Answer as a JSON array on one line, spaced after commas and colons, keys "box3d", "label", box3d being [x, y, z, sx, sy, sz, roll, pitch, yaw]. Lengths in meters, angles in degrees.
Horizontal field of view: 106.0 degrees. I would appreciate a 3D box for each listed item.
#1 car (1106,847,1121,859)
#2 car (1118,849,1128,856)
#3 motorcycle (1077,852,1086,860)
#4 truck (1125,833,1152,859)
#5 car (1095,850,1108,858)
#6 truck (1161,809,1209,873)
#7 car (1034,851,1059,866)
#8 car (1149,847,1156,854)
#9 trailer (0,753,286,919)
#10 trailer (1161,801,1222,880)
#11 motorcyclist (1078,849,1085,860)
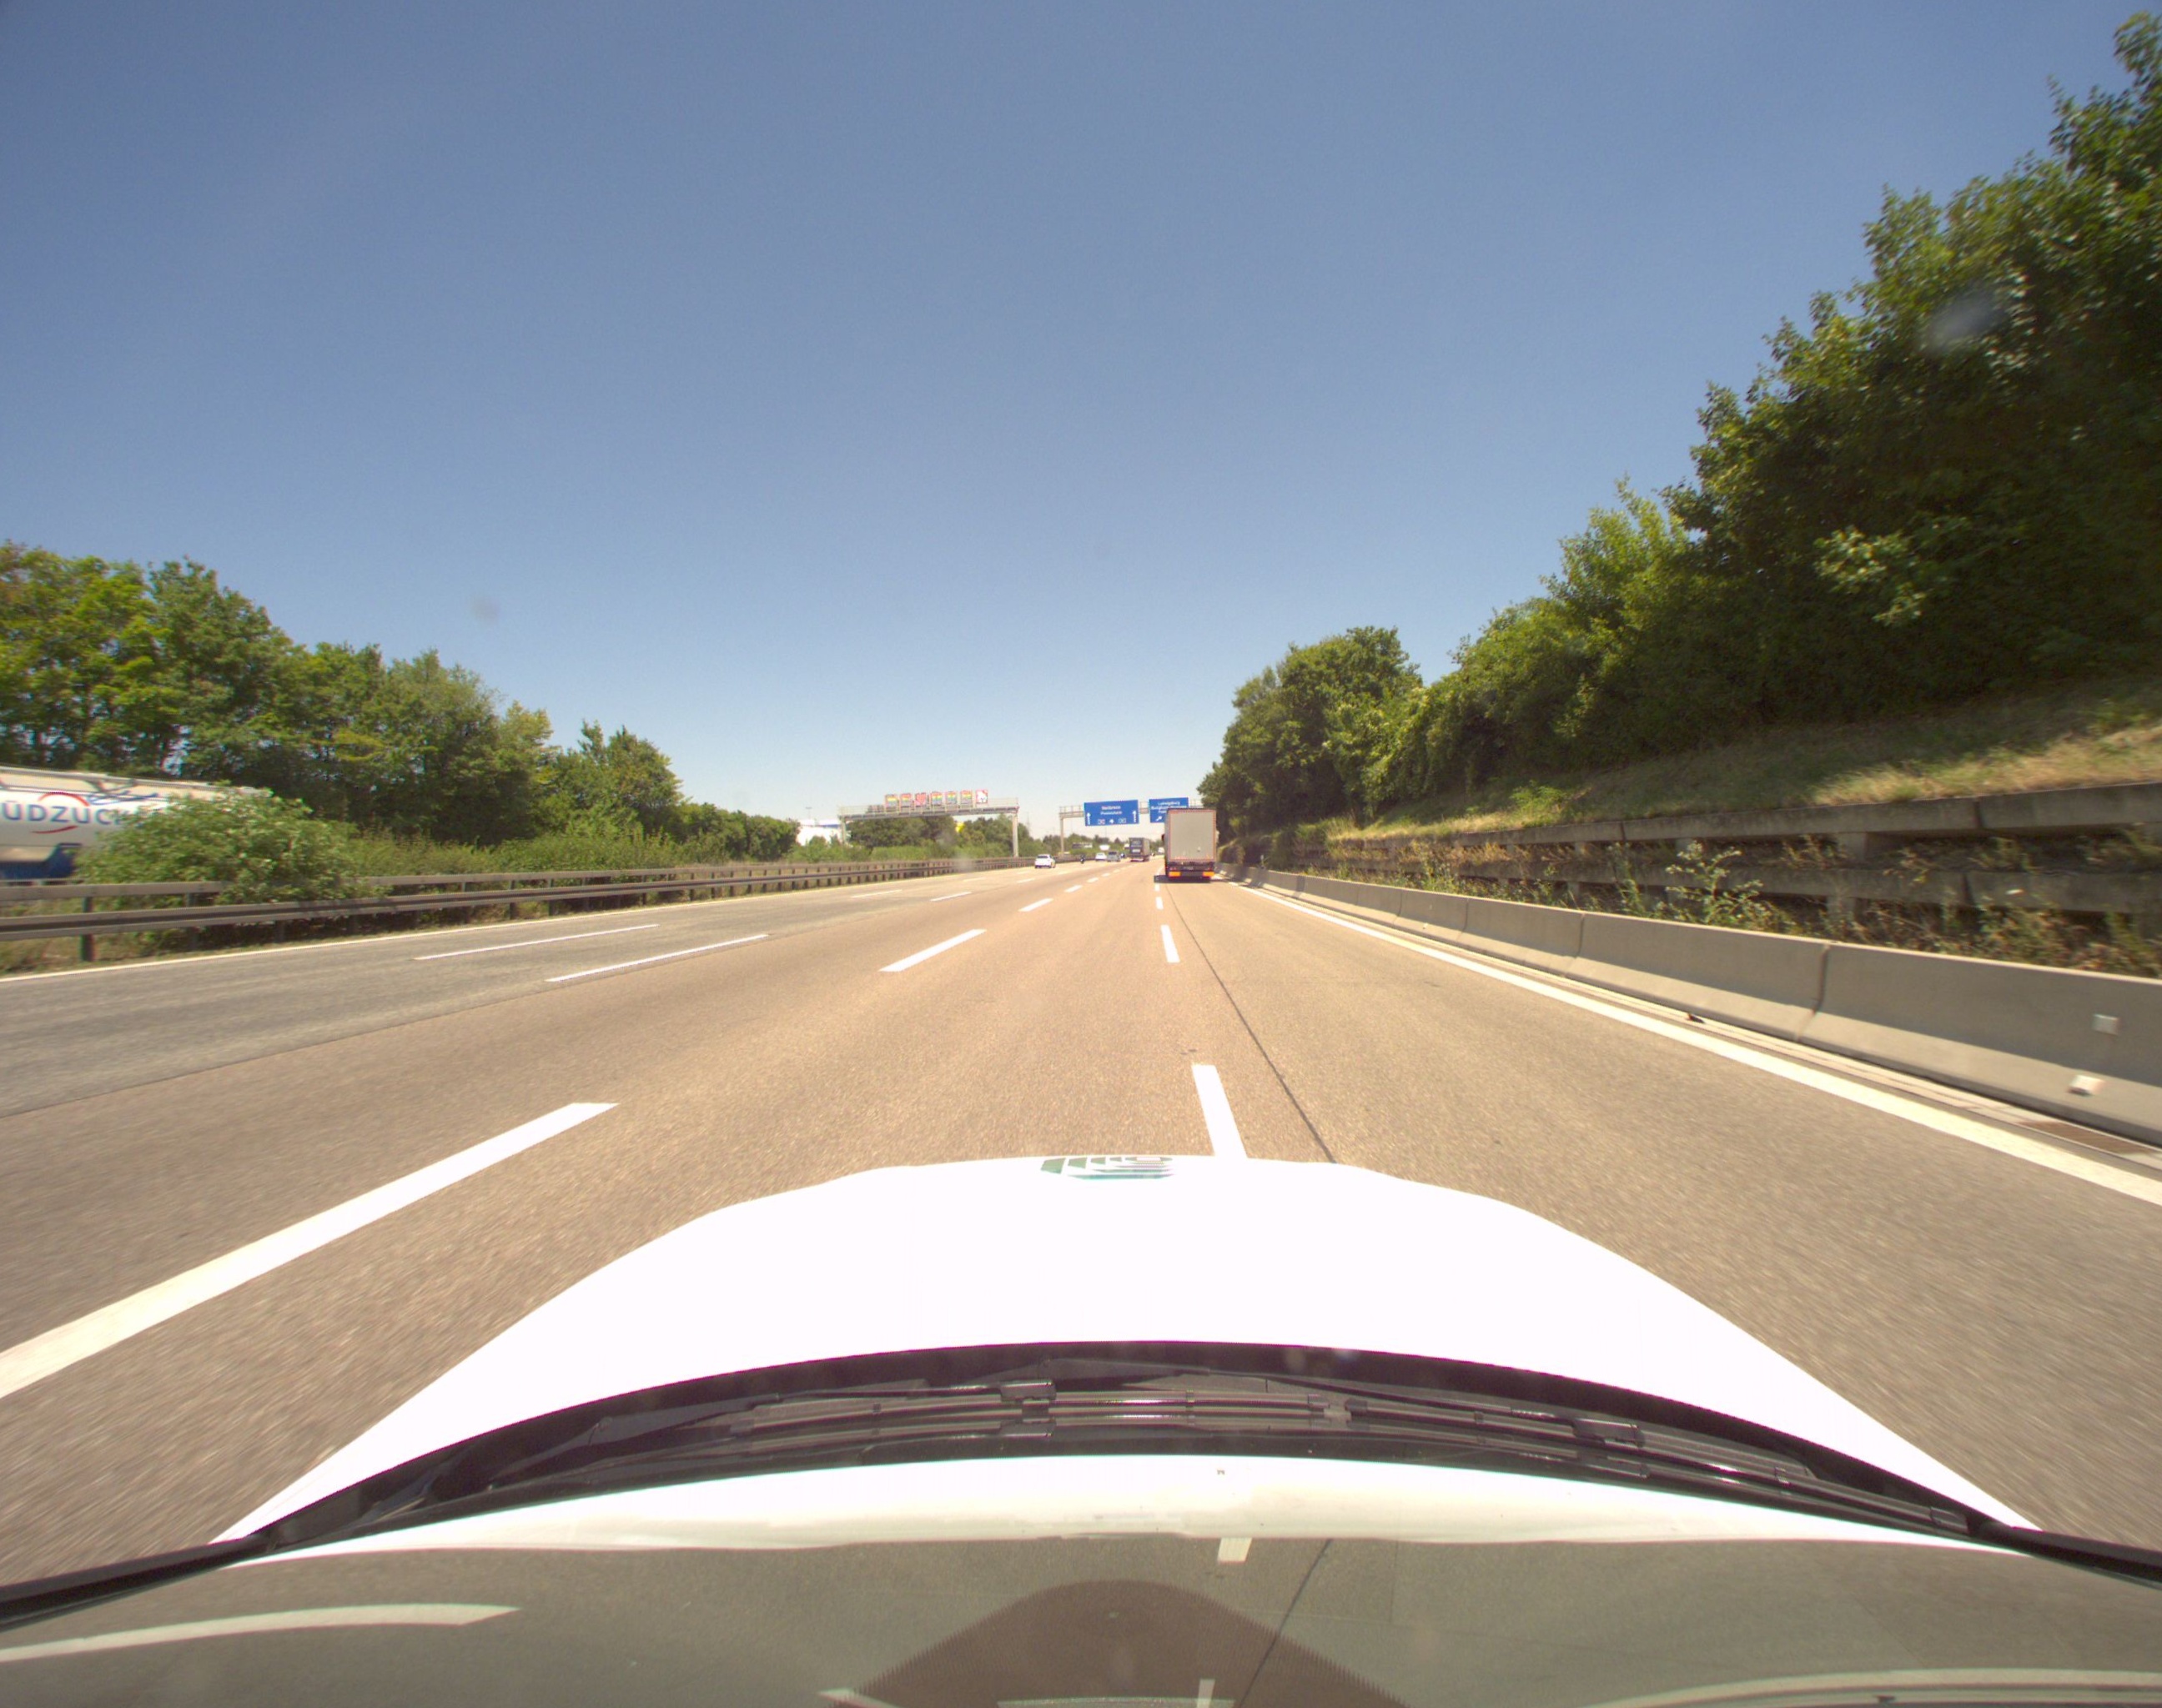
[{"box3d": [5.420, -0.158, 136.015, 1.919, 1.851, 4.703, -2, 0, 8], "label": "car"}, {"box3d": [9.314, -0.378, 181.577, 1.747, 1.409, 5.049, -2, -2, 7], "label": "car"}, {"box3d": [0.068, 0.344, 118.413, 0.908, 1.089, 2.854, -1, -1, 6], "label": "motorcycle"}, {"box3d": [10.162, -1.312, 142.185, 3.726, 4.270, 14.528, 0, 0, 8], "label": "truck"}, {"box3d": [3.726, 0.028, 148.444, 1.866, 1.440, 5.135, -1, -1, 7], "label": "car"}, {"box3d": [7.044, -0.885, 56.052, 2.914, 4.015, 7.594, -2, 1, 5], "label": "truck"}, {"box3d": [-3.674, 0.480, 86.897, 1.772, 1.440, 4.679, -1, 0, 8], "label": "car"}, {"box3d": [21.553, -1.061, 244.871, 1.866, 2.002, 5.137, -1, -1, 8], "label": "car"}, {"box3d": [-26.539, -0.425, 20.632, 2.677, 3.889, 9.747, 0, 0, 5], "label": "trailer"}, {"box3d": [6.341, -0.775, 48.439, 2.914, 4.015, 12.056, -2, 1, 5], "label": "trailer"}, {"box3d": [0.057, 0.093, 118.424, 0.889, 1.597, 1.301, -1, -1, 5], "label": "motorcyclist"}]
